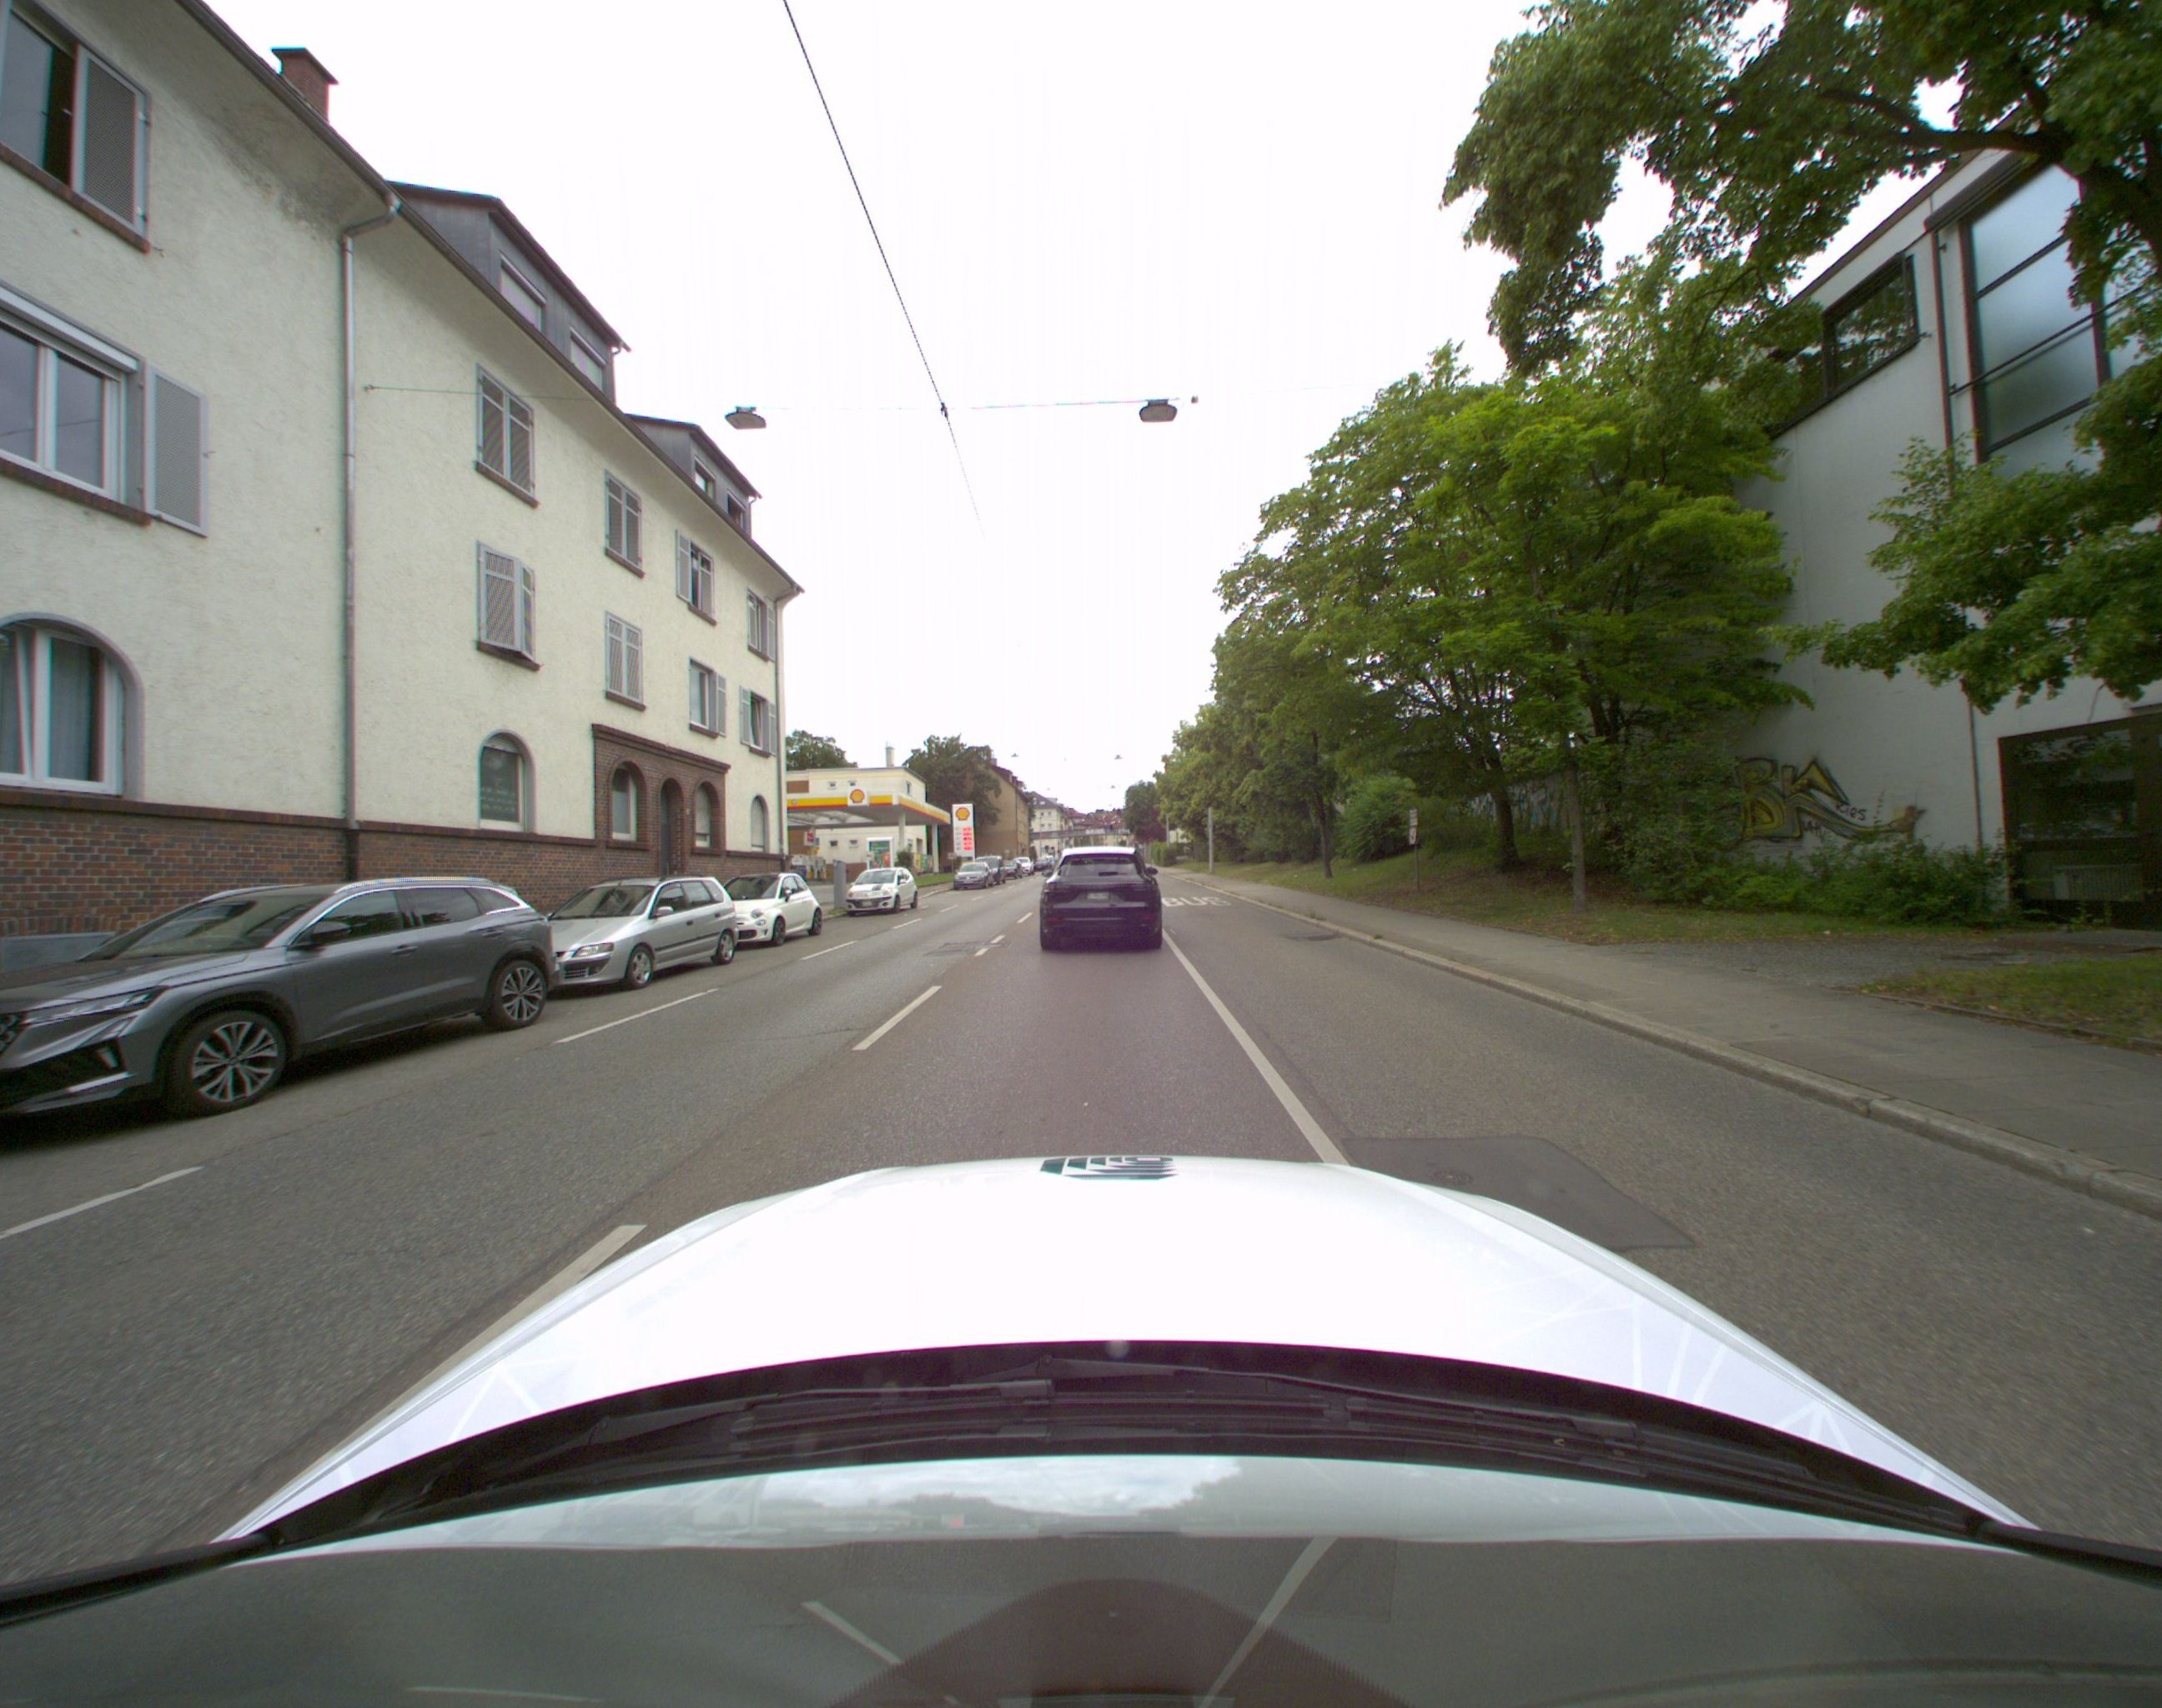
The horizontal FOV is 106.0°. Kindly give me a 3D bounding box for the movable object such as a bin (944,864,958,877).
[{"bbox_3d":[-14.472,1.811,90.763,1.388,1.428,0.913,-1,0,-1],"label":"movable object such as a bin"}]

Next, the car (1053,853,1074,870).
[{"bbox_3d":[-1.705,0.712,79.792,1.791,1.525,4.001,-3,0,2],"label":"car"}]

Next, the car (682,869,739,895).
[{"bbox_3d":[-23.149,1.721,50.961,1.791,1.420,3.637,-1,0,2],"label":"car"}]

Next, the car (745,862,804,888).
[{"bbox_3d":[-18.422,1.232,49.146,1.791,1.420,4.418,-1,0,2],"label":"car"}]

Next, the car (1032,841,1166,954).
[{"bbox_3d":[0.346,0.638,14.355,1.986,1.662,4.002,-2,0,2],"label":"car"}]

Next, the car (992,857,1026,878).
[{"bbox_3d":[-5.408,1.013,62.063,1.790,1.431,4.748,-3,0,4],"label":"car"}]

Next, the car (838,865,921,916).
[{"bbox_3d":[-6.514,1.140,26.743,1.613,1.425,3.667,-3,0,2],"label":"car"}]

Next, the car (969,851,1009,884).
[{"bbox_3d":[-5.680,0.818,50.801,1.845,1.835,4.701,-3,0,0],"label":"car"}]

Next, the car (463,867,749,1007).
[{"bbox_3d":[-6.788,1.077,12.242,1.721,1.558,4.082,-5,0,1],"label":"car"}]

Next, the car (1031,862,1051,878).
[{"bbox_3d":[-4.558,1.751,92.818,1.776,1.609,4.267,-4,0,3],"label":"car"}]

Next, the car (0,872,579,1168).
[{"bbox_3d":[-6.753,1.054,7.058,1.719,1.599,4.506,-3,0,4],"label":"car"}]

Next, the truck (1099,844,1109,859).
[{"bbox_3d":[5.421,-0.483,191.448,2.258,3.424,9.881,-2,0,2],"label":"truck"}]

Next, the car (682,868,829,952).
[{"bbox_3d":[-6.816,1.111,17.460,1.542,1.475,3.605,-3,0,1],"label":"car"}]

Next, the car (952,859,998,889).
[{"bbox_3d":[-5.782,1.060,44.808,1.784,1.450,4.220,-3,0,2],"label":"car"}]

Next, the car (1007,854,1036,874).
[{"bbox_3d":[-5.185,0.864,71.153,1.908,1.577,4.702,-3,0,2],"label":"car"}]
